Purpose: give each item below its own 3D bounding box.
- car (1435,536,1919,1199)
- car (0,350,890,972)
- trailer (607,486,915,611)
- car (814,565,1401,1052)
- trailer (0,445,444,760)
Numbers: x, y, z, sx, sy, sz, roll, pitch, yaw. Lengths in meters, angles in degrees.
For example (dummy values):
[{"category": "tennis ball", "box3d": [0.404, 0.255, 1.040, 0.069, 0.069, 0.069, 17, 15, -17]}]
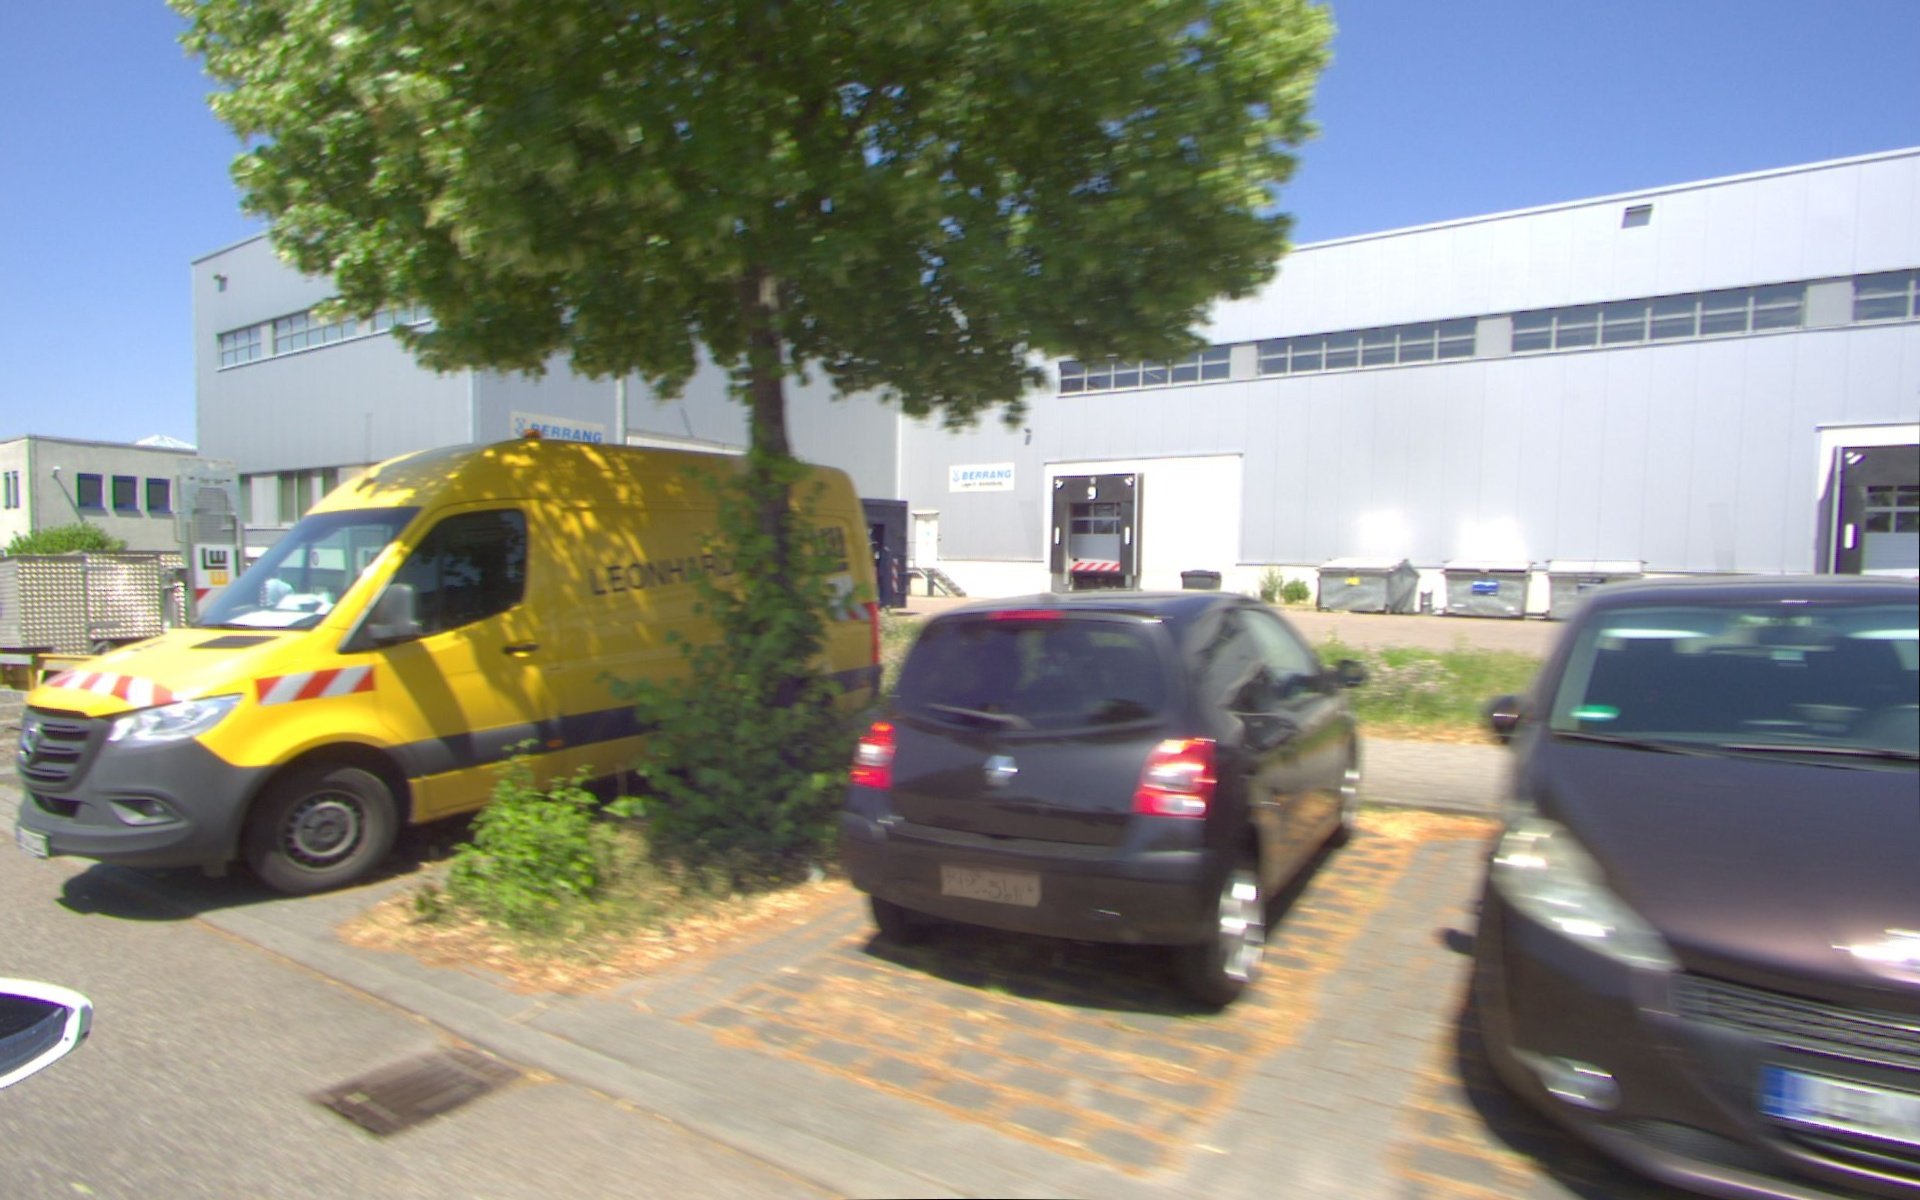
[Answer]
[{"category": "car", "box3d": [2.745, 0.628, 3.476, 1.568, 1.527, 3.762, 0, 1, 32]}, {"category": "car", "box3d": [-3.107, 0.094, 7.355, 1.972, 2.772, 5.757, 2, 5, 35]}, {"category": "trailer", "box3d": [-4.761, -1.252, 23.077, 7.313, 2.454, 2.650, 5, 2, 36]}, {"category": "car", "box3d": [1.057, 0.629, 5.026, 1.604, 1.498, 3.594, 1, 1, 32]}, {"category": "trailer", "box3d": [-8.964, -0.028, 11.721, 5.438, 2.897, 2.650, 0, 3, 31]}]
